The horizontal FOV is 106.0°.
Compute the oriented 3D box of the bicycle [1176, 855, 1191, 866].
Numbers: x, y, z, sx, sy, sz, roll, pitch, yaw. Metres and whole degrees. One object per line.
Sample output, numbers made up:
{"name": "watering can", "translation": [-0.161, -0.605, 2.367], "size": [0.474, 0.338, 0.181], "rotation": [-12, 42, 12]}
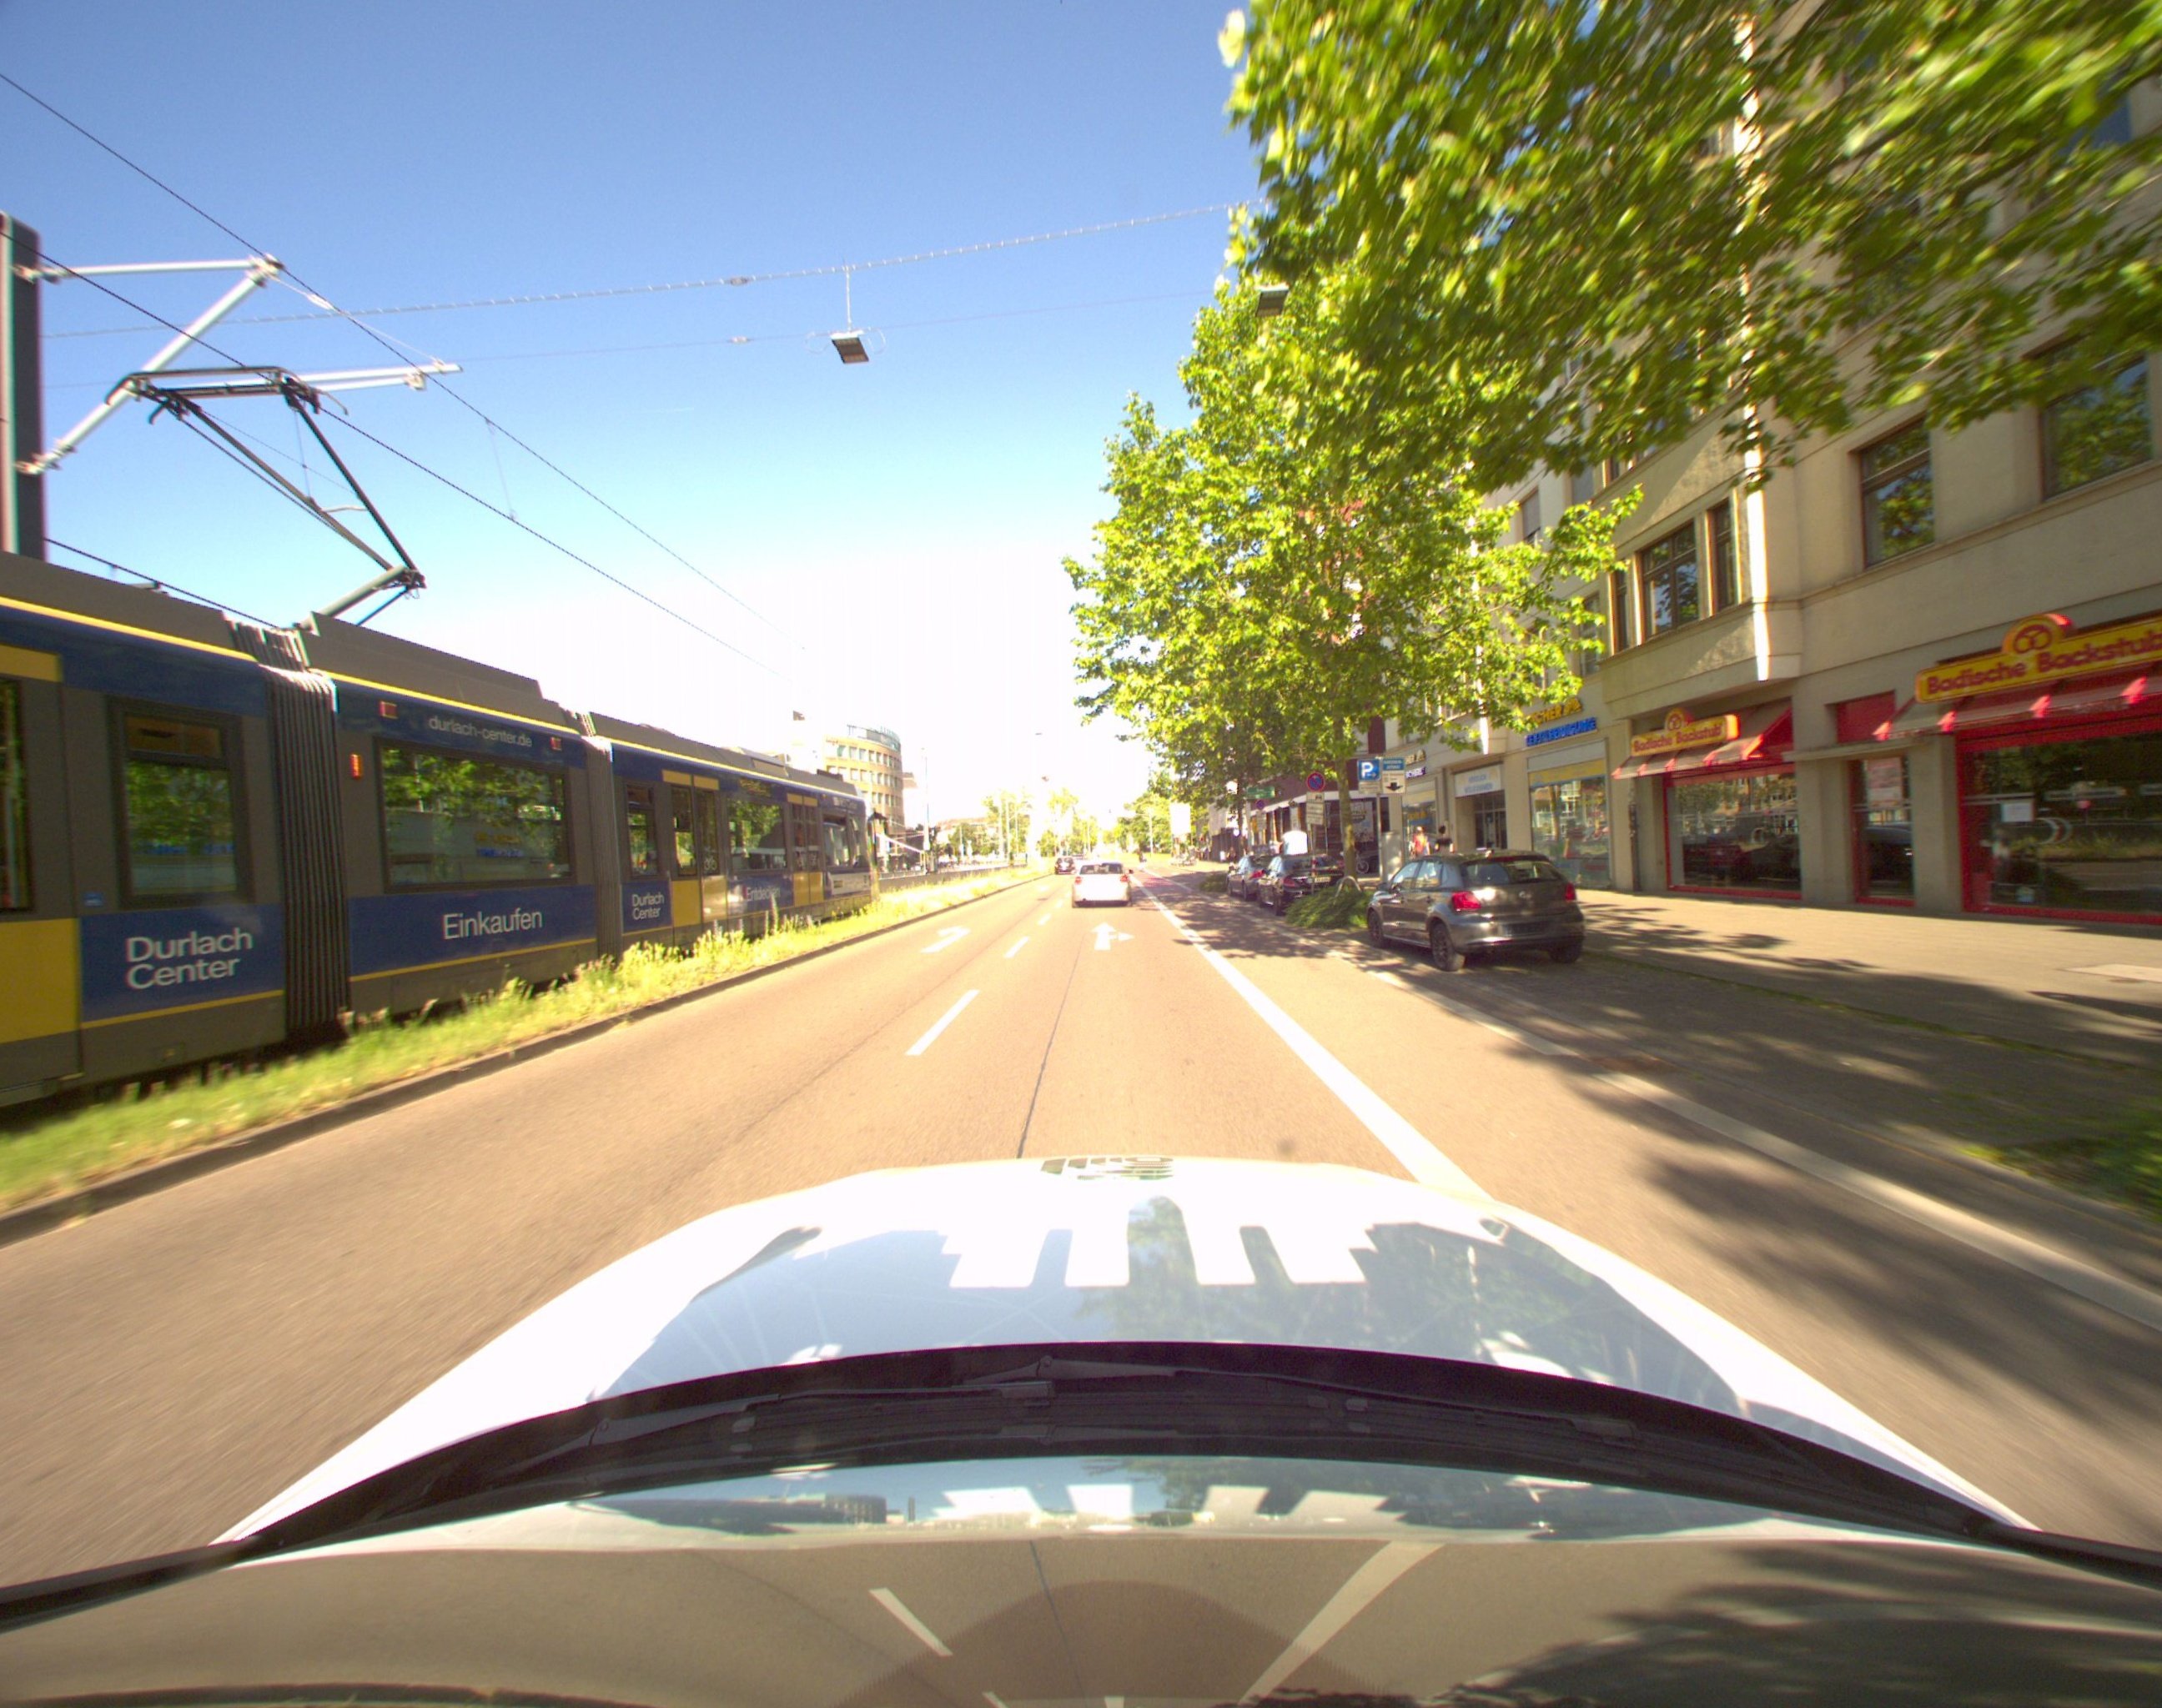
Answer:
{"name": "bicycle", "translation": [10.585, 0.674, 84.408], "size": [1.458, 1.067, 0.257], "rotation": [-3, -1, 3]}

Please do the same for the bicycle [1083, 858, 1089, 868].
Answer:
{"name": "bicycle", "translation": [0.474, 0.884, 80.750], "size": [0.338, 1.056, 1.774], "rotation": [-2, 0, -8]}

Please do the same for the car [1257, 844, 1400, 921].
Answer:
{"name": "car", "translation": [5.527, 0.577, 18.878], "size": [2.031, 1.509, 4.596], "rotation": [-2, 0, 2]}

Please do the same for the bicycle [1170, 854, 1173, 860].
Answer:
{"name": "bicycle", "translation": [14.507, 0.557, 130.607], "size": [0.350, 0.958, 1.574], "rotation": [0, 0, 3]}

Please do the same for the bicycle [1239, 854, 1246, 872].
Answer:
{"name": "bicycle", "translation": [10.172, 0.567, 51.164], "size": [0.315, 1.085, 1.691], "rotation": [-2, 0, 14]}

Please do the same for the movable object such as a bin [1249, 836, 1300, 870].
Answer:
{"name": "movable object such as a bin", "translation": [11.379, -0.075, 48.041], "size": [1.941, 1.843, 3.475], "rotation": [-2, 1, -4]}

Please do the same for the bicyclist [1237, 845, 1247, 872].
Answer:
{"name": "bicyclist", "translation": [10.123, 0.288, 51.191], "size": [0.597, 1.690, 0.599], "rotation": [-2, 0, 12]}

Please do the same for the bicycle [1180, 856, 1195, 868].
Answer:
{"name": "bicycle", "translation": [10.651, 0.786, 81.579], "size": [1.458, 1.067, 0.257], "rotation": [-3, -1, 3]}

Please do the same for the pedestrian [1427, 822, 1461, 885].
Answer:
{"name": "pedestrian", "translation": [10.167, -0.017, 22.827], "size": [0.556, 1.711, 0.770], "rotation": [-2, 0, 2]}

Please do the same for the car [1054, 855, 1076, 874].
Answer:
{"name": "car", "translation": [-1.300, 0.875, 67.065], "size": [1.721, 1.470, 4.409], "rotation": [-1, 0, -1]}

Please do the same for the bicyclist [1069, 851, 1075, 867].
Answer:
{"name": "bicyclist", "translation": [-0.896, 0.500, 80.504], "size": [0.614, 1.572, 0.687], "rotation": [0, -1, 3]}

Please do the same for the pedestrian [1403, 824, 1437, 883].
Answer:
{"name": "pedestrian", "translation": [11.174, -0.020, 26.878], "size": [0.711, 1.900, 0.863], "rotation": [-2, -1, 2]}

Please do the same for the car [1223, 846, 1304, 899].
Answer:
{"name": "car", "translation": [5.867, 0.551, 26.674], "size": [1.782, 1.555, 4.437], "rotation": [-2, 0, 2]}

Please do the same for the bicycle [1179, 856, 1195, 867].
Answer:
{"name": "bicycle", "translation": [10.670, 0.761, 81.947], "size": [1.458, 1.067, 0.257], "rotation": [-3, -1, 3]}

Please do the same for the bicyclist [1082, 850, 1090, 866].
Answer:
{"name": "bicyclist", "translation": [0.459, 0.425, 80.730], "size": [0.616, 1.571, 0.684], "rotation": [-2, 0, -10]}

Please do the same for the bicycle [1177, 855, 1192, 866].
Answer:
{"name": "bicycle", "translation": [10.523, 0.682, 83.097], "size": [1.458, 1.067, 0.257], "rotation": [-3, -1, 3]}

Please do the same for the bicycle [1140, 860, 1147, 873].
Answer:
{"name": "bicycle", "translation": [5.174, 1.011, 67.928], "size": [0.497, 1.088, 1.998], "rotation": [0, 0, 2]}

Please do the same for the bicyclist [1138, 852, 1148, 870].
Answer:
{"name": "bicyclist", "translation": [5.183, 0.601, 67.989], "size": [0.782, 1.531, 0.895], "rotation": [0, -1, 2]}

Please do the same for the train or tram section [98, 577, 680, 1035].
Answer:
{"name": "train or tram section", "translation": [-6.861, -0.396, 8.885], "size": [2.944, 3.897, 3.867], "rotation": [0, -1, 2]}

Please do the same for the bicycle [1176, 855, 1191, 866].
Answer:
{"name": "bicycle", "translation": [10.590, 0.678, 84.035], "size": [1.458, 1.067, 0.257], "rotation": [-3, -1, 3]}

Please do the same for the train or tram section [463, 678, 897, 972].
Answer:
{"name": "train or tram section", "translation": [-6.563, -0.351, 16.244], "size": [2.941, 3.897, 10.808], "rotation": [0, 0, 2]}

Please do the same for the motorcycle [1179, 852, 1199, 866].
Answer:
{"name": "motorcycle", "translation": [10.621, 0.450, 79.949], "size": [1.846, 1.301, 0.653], "rotation": [-2, 0, 4]}

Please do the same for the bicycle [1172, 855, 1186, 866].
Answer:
{"name": "bicycle", "translation": [10.679, 0.721, 88.780], "size": [1.458, 1.067, 0.257], "rotation": [-3, -1, 3]}

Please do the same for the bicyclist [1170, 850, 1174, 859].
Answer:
{"name": "bicyclist", "translation": [14.528, 0.096, 130.628], "size": [0.614, 1.380, 0.687], "rotation": [0, -1, 3]}

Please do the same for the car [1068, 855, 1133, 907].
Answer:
{"name": "car", "translation": [0.619, 0.771, 25.200], "size": [1.791, 1.415, 4.002], "rotation": [-2, 0, 2]}

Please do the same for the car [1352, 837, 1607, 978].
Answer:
{"name": "car", "translation": [5.235, 0.609, 11.307], "size": [1.688, 1.502, 3.803], "rotation": [-4, 0, 2]}

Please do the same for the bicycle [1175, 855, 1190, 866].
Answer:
{"name": "bicycle", "translation": [10.607, 0.676, 85.076], "size": [1.458, 1.067, 0.257], "rotation": [-3, -1, 3]}

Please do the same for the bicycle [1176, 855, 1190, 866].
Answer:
{"name": "bicycle", "translation": [10.607, 0.674, 84.752], "size": [1.458, 1.067, 0.257], "rotation": [-3, -1, 3]}

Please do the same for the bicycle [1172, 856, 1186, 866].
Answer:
{"name": "bicycle", "translation": [10.740, 0.778, 89.439], "size": [1.458, 1.067, 0.257], "rotation": [-3, -1, 3]}

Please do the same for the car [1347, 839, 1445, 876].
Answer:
{"name": "car", "translation": [16.110, 0.175, 41.791], "size": [4.283, 1.788, 1.996], "rotation": [-1, -1, 1]}

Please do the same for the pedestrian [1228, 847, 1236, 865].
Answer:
{"name": "pedestrian", "translation": [13.649, 0.205, 73.659], "size": [0.570, 1.582, 0.557], "rotation": [-2, 0, 2]}

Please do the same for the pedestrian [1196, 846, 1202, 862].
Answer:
{"name": "pedestrian", "translation": [15.652, -0.009, 108.069], "size": [0.786, 2.014, 0.872], "rotation": [0, -1, 9]}

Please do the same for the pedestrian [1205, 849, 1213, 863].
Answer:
{"name": "pedestrian", "translation": [17.048, 0.213, 108.483], "size": [0.819, 1.856, 0.921], "rotation": [0, -1, 16]}

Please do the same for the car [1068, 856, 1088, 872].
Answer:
{"name": "car", "translation": [-0.271, 0.892, 75.227], "size": [1.638, 1.421, 4.002], "rotation": [-1, 0, 2]}
